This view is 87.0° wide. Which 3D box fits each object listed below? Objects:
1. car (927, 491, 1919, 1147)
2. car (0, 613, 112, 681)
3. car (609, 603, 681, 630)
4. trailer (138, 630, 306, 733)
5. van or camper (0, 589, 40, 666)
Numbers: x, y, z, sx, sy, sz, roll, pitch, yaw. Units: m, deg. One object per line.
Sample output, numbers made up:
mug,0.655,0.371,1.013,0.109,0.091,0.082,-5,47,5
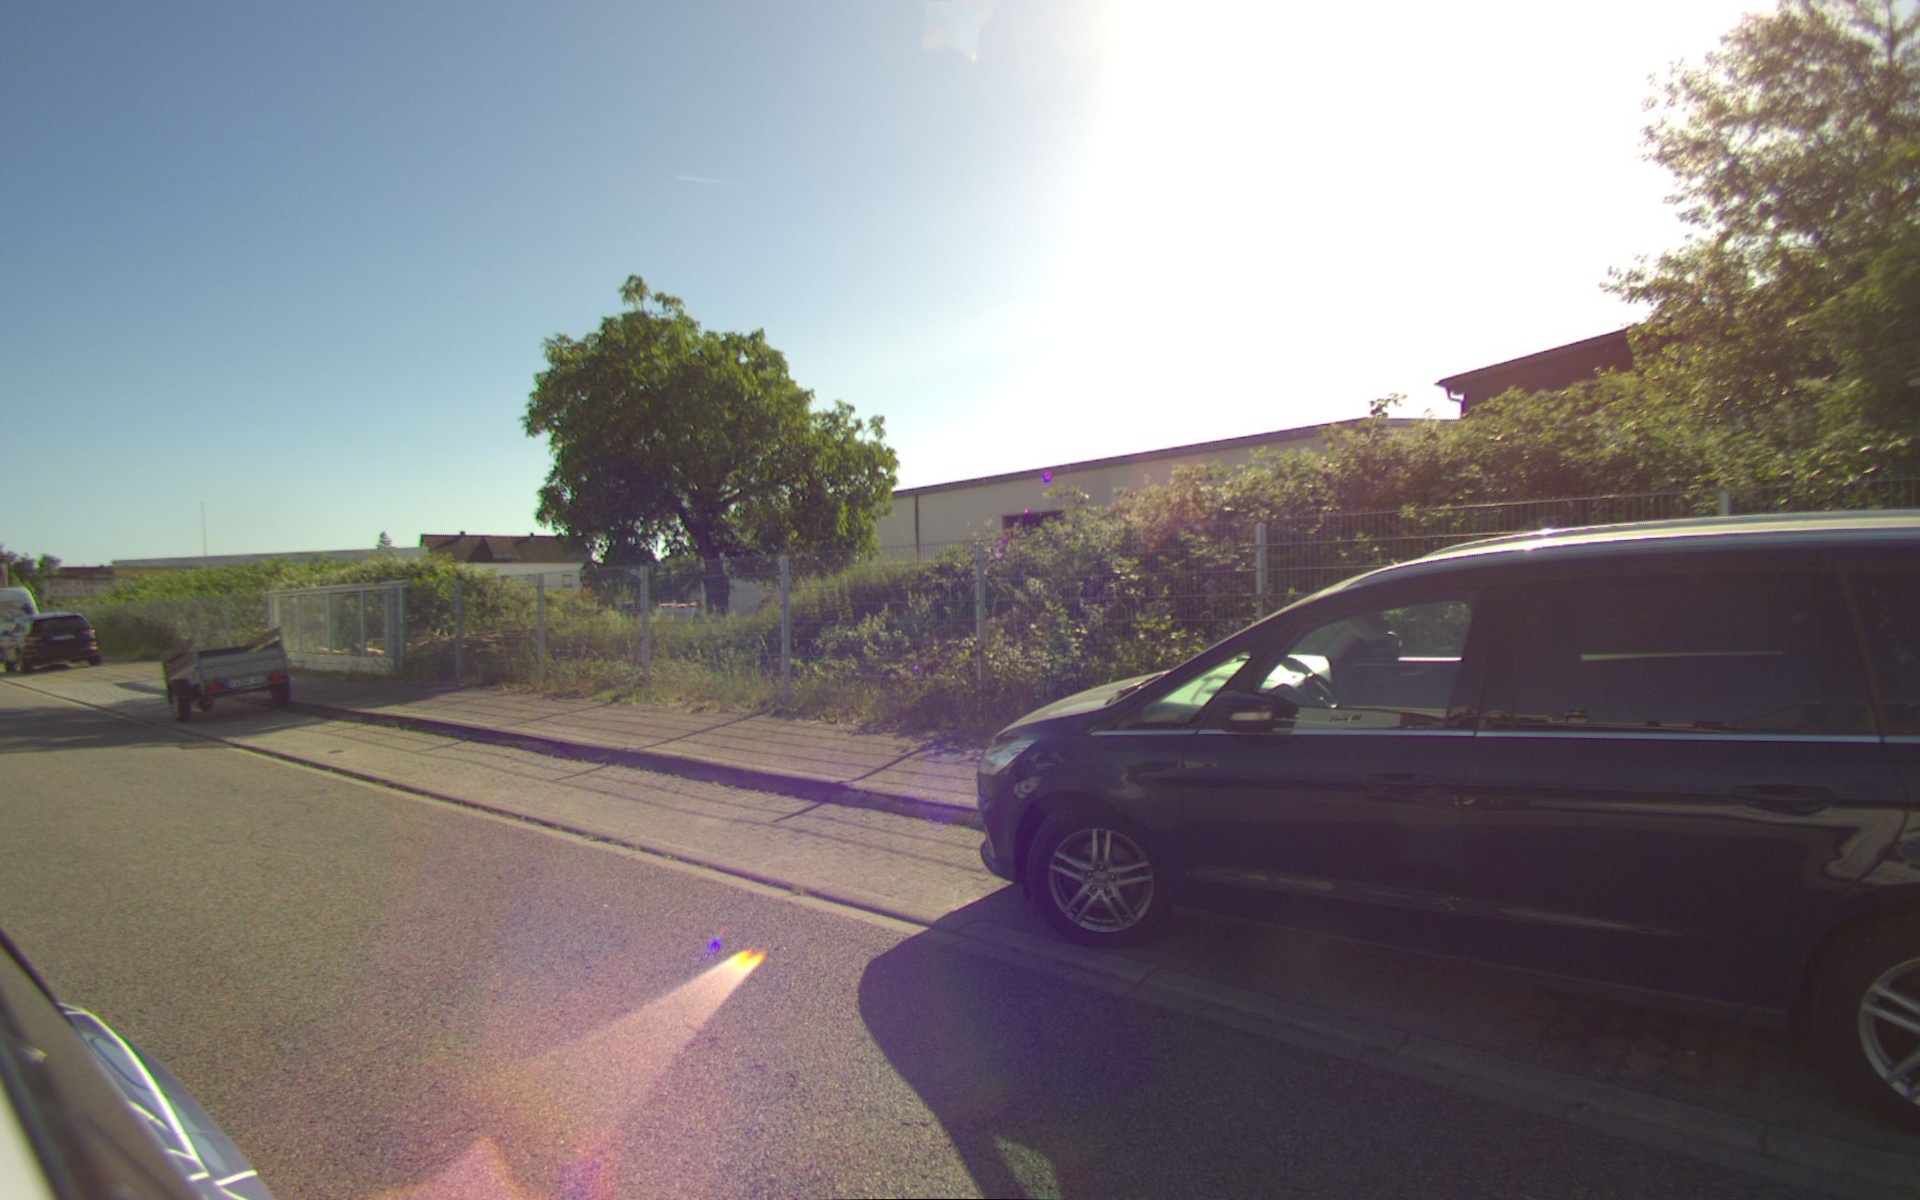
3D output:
car,2.326,0.554,3.999,4.795,1.743,1.776,-2,4,38
car,-27.372,1.372,30.347,5.102,1.706,2.011,-2,4,40
car,-20.506,1.063,65.939,4.103,1.586,1.853,-2,0,-36
trailer,-11.712,1.210,16.015,3.077,1.364,1.461,-1,2,41
van or camper,-37.070,1.119,38.791,5.947,2.704,1.946,-2,5,43
